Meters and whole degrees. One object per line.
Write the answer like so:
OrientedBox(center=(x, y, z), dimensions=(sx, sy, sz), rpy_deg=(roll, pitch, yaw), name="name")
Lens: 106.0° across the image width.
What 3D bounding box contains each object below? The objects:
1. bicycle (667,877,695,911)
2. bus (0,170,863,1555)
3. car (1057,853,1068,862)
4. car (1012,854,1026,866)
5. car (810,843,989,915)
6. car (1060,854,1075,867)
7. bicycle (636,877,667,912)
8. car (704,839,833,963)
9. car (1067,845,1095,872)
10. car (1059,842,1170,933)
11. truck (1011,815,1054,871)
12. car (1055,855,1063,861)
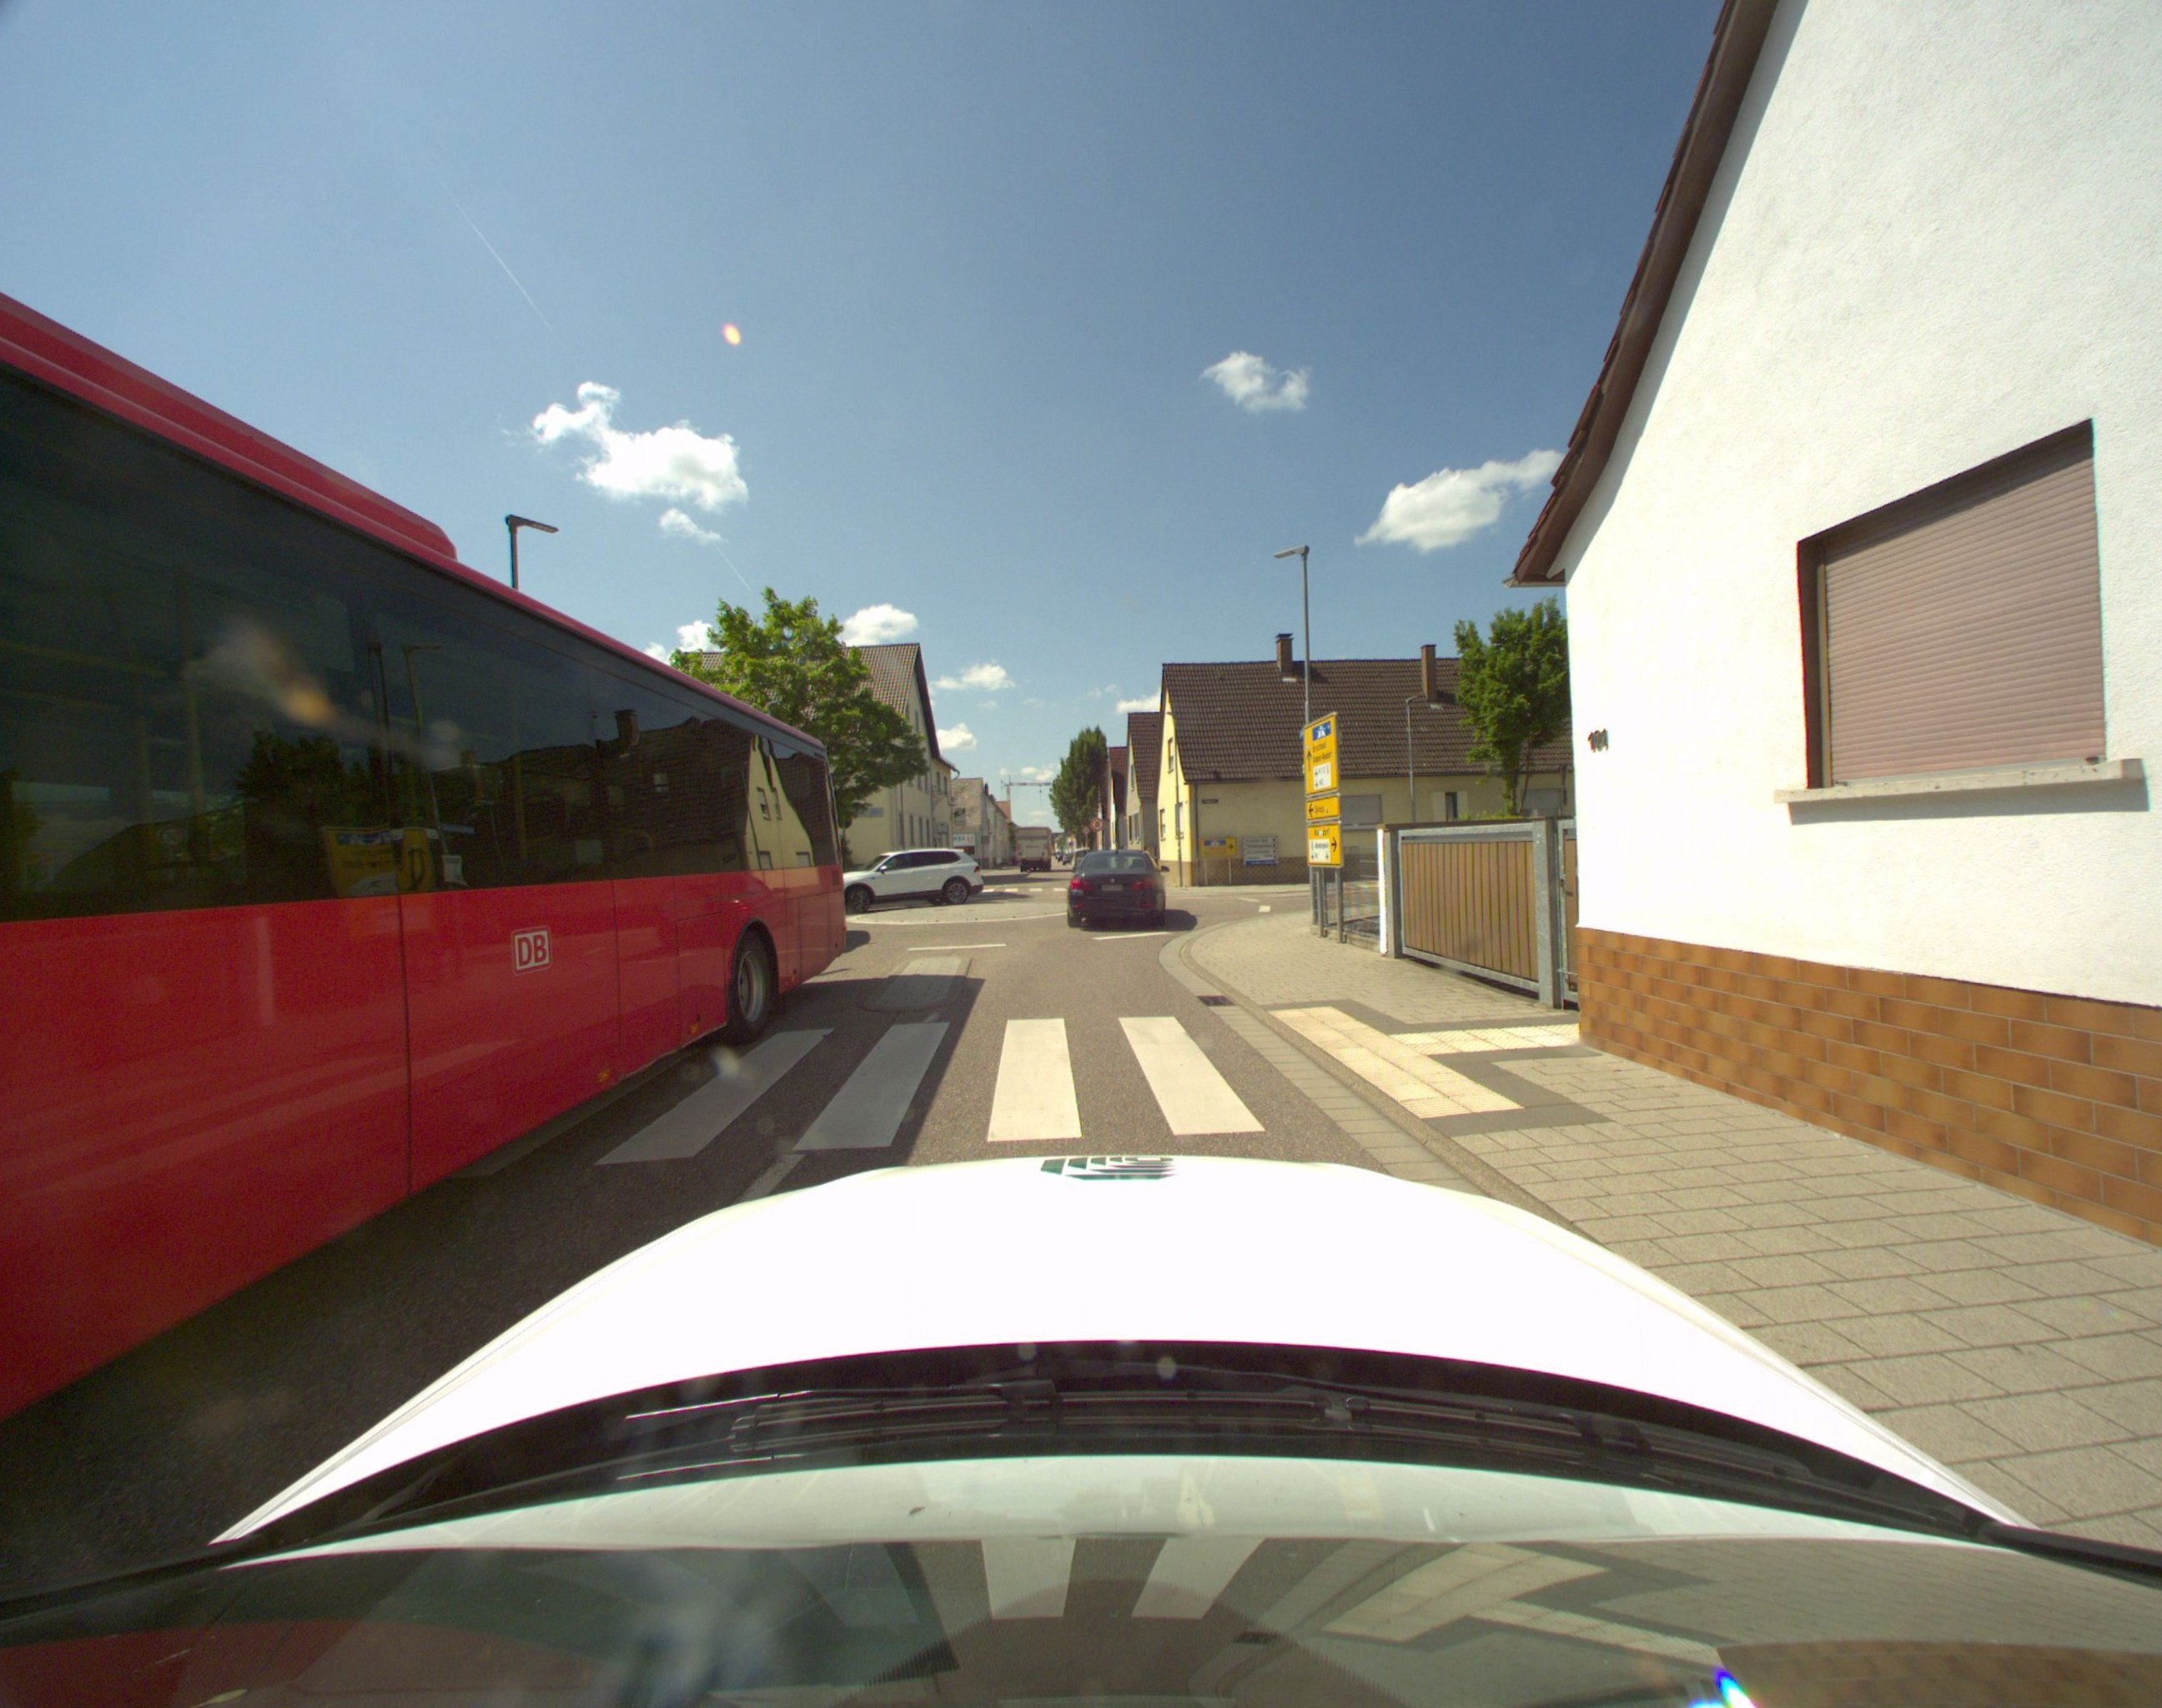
OrientedBox(center=(-13.480, 1.324, 27.491), dimensions=(0.400, 1.003, 1.973), rpy_deg=(-2, 2, -14), name="bicycle")
OrientedBox(center=(-3.937, 0.027, 4.321), dimensions=(2.621, 3.231, 12.011), rpy_deg=(-4, 0, -3), name="bus")
OrientedBox(center=(-2.877, 0.514, 125.826), dimensions=(1.715, 1.355, 4.153), rpy_deg=(-2, 0, -2), name="car")
OrientedBox(center=(-8.526, 0.762, 111.596), dimensions=(1.805, 1.589, 3.995), rpy_deg=(-2, 0, -3), name="car")
OrientedBox(center=(-5.093, 0.640, 23.067), dimensions=(4.557, 1.710, 1.854), rpy_deg=(-3, 0, -30), name="car")
OrientedBox(center=(-1.567, 0.744, 97.687), dimensions=(1.714, 1.461, 4.155), rpy_deg=(-2, 0, -1), name="car")
OrientedBox(center=(-14.353, 1.332, 27.243), dimensions=(0.400, 1.003, 1.973), rpy_deg=(-2, 2, -14), name="bicycle")
OrientedBox(center=(-5.580, 0.699, 15.045), dimensions=(1.776, 1.820, 4.417), rpy_deg=(-4, 2, -17), name="car")
OrientedBox(center=(-0.038, 0.322, 60.745), dimensions=(1.716, 1.790, 4.138), rpy_deg=(-4, 0, -4), name="car")
OrientedBox(center=(0.836, 0.587, 16.823), dimensions=(1.892, 1.563, 4.485), rpy_deg=(-2, 0, 6), name="car")
OrientedBox(center=(-3.917, -0.825, 67.483), dimensions=(3.136, 4.250, 9.297), rpy_deg=(-1, 0, -1), name="truck")
OrientedBox(center=(-4.671, 0.865, 174.968), dimensions=(1.715, 1.268, 4.153), rpy_deg=(-2, 0, -2), name="car")
